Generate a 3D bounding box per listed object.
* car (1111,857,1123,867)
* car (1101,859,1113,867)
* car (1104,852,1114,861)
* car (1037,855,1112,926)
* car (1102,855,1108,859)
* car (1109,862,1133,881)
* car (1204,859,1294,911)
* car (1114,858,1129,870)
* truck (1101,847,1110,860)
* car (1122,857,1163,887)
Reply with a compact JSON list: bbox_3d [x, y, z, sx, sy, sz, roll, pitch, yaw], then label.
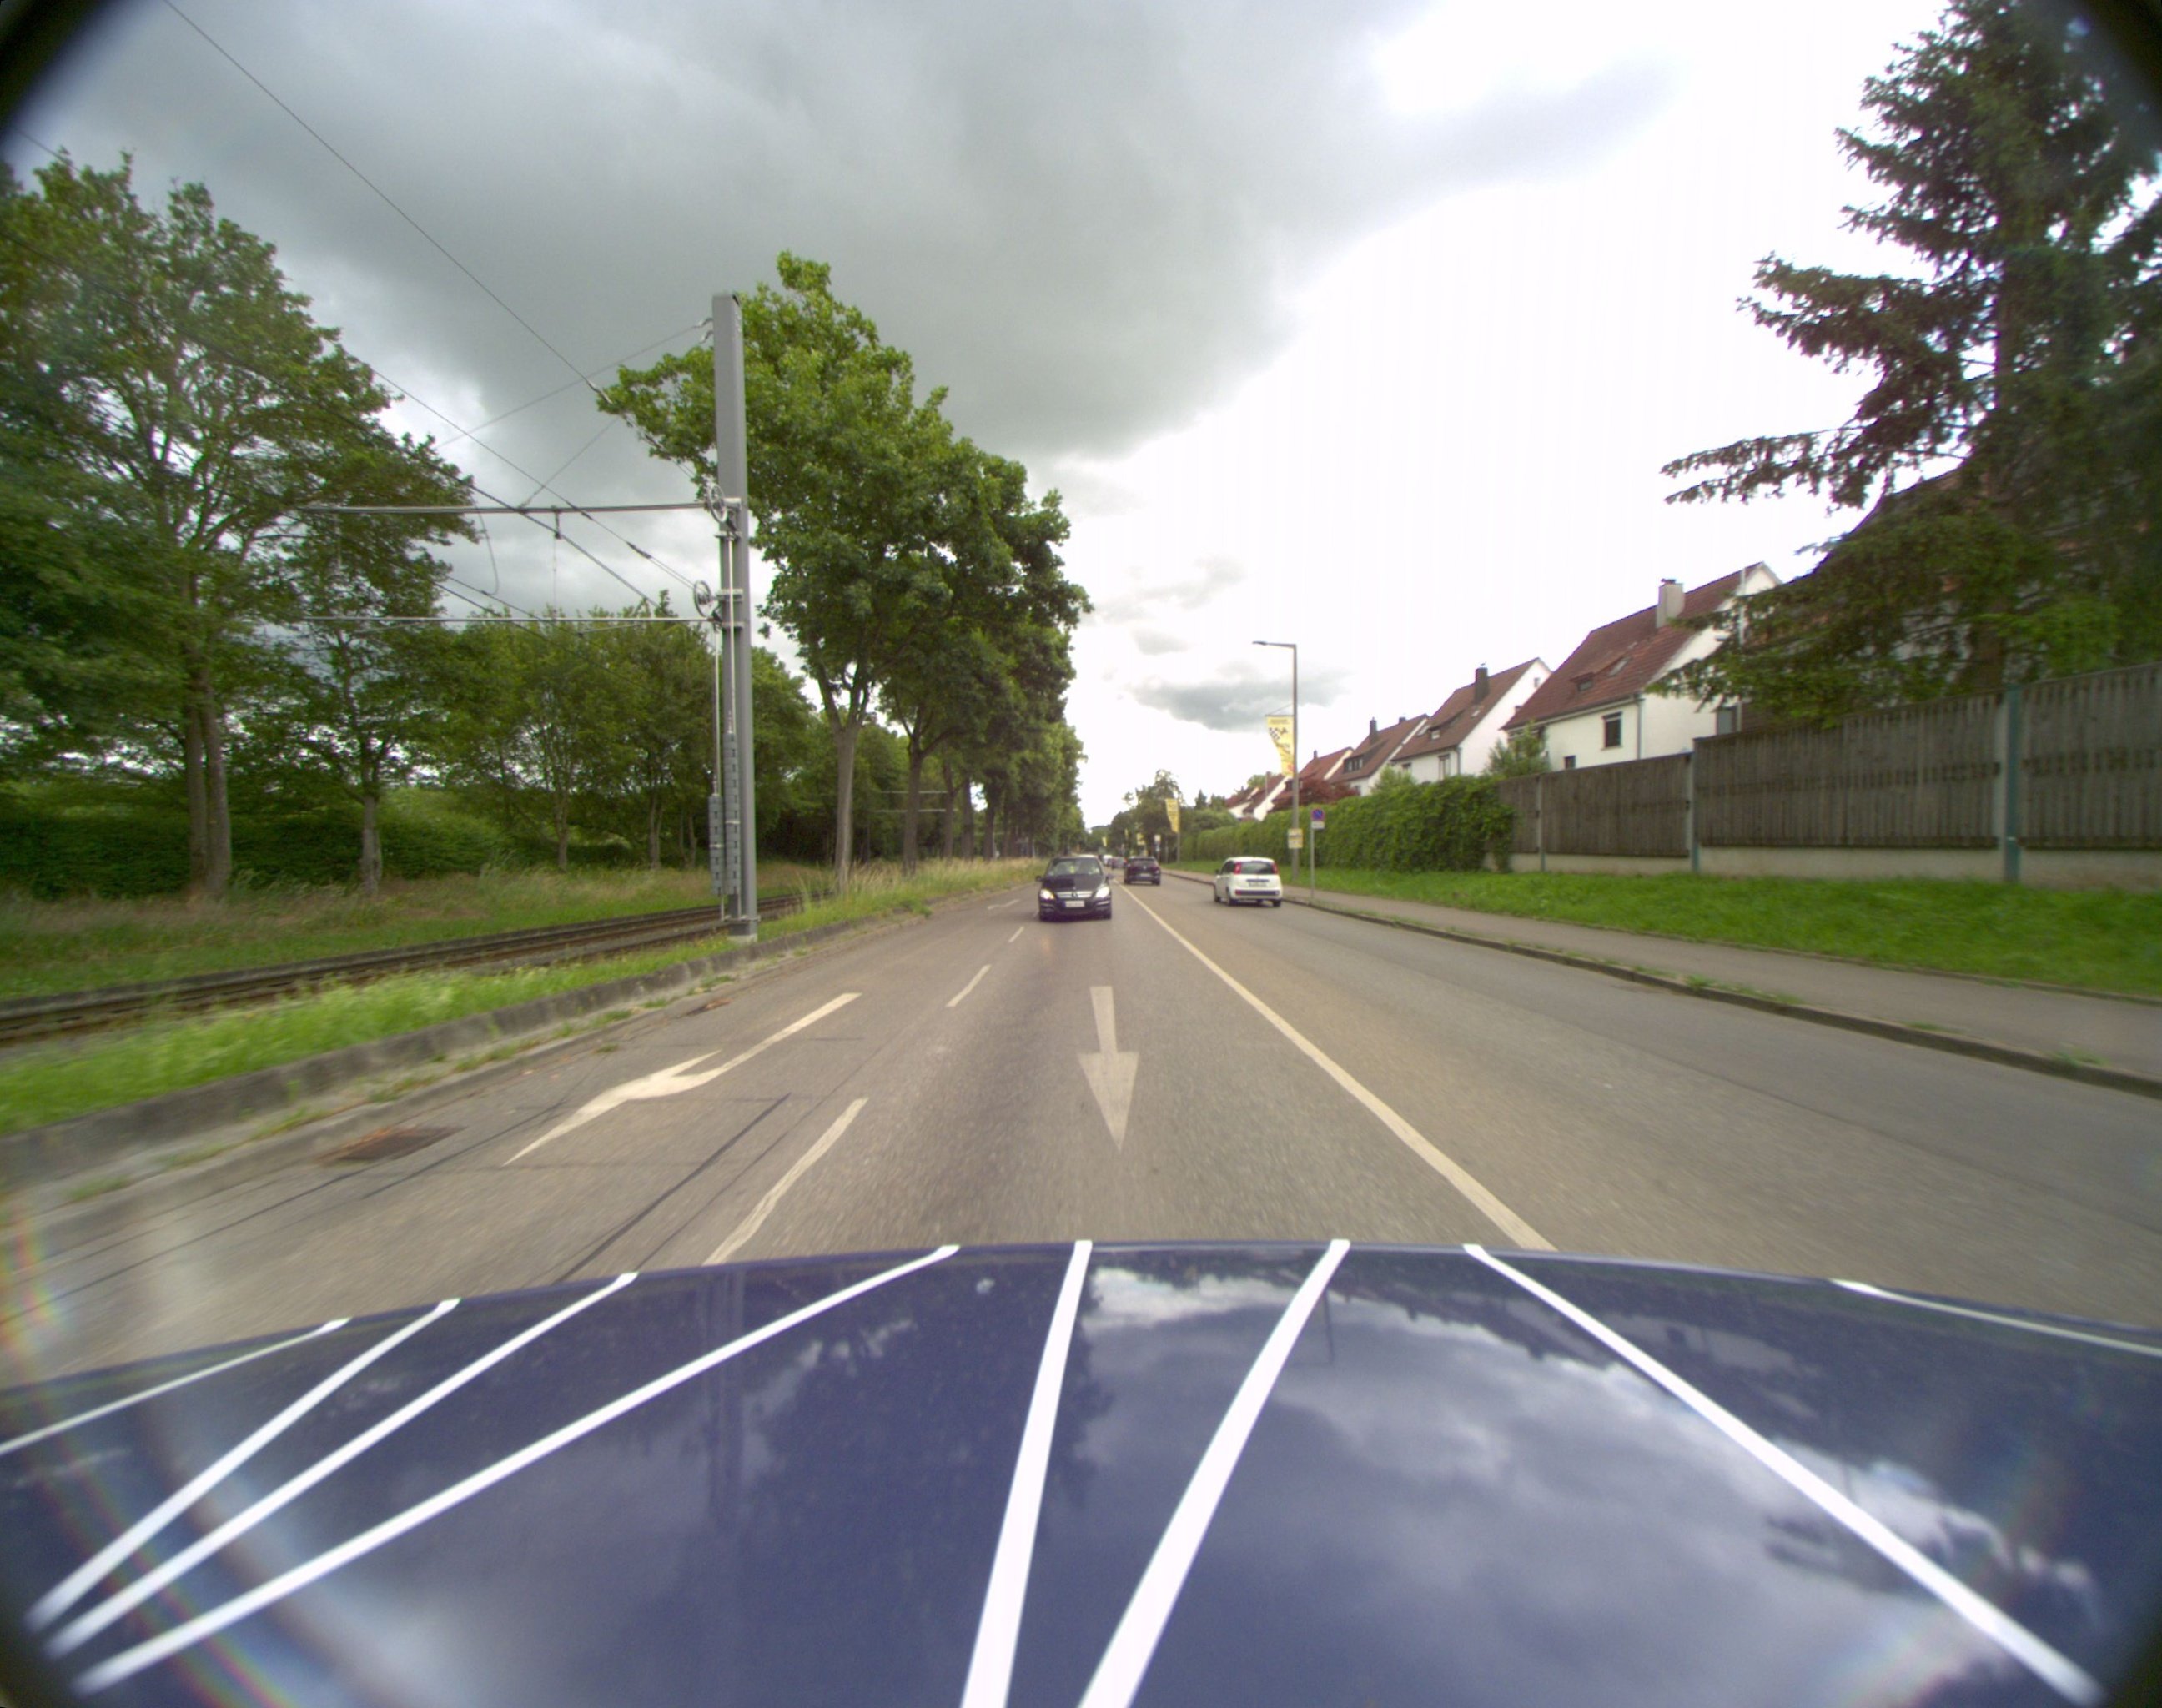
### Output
[{"bbox_3d":[5.578,1.290,117.426,1.756,1.510,4.000,-1,0,2],"label":"car"},{"bbox_3d":[4.675,1.521,135.235,1.891,1.375,4.490,0,0,-1],"label":"car"},{"bbox_3d":[6.153,0.487,164.740,1.911,1.921,4.910,2,0,0],"label":"car"},{"bbox_3d":[-0.141,0.858,19.972,1.683,1.565,4.482,-2,0,0],"label":"car"},{"bbox_3d":[6.945,0.891,219.480,1.737,1.367,4.240,0,0,0],"label":"car"},{"bbox_3d":[3.277,1.425,62.844,1.647,1.472,4.107,1,0,0],"label":"car"},{"bbox_3d":[5.353,0.933,24.890,1.817,1.515,4.700,1,0,-1],"label":"car"},{"bbox_3d":[4.905,1.219,92.370,1.732,1.455,4.153,0,0,0],"label":"car"},{"bbox_3d":[7.906,-0.120,246.953,2.556,4.020,10.618,1,0,0],"label":"truck"},{"bbox_3d":[3.295,0.954,41.383,1.817,1.515,4.177,1,0,-1],"label":"car"}]
